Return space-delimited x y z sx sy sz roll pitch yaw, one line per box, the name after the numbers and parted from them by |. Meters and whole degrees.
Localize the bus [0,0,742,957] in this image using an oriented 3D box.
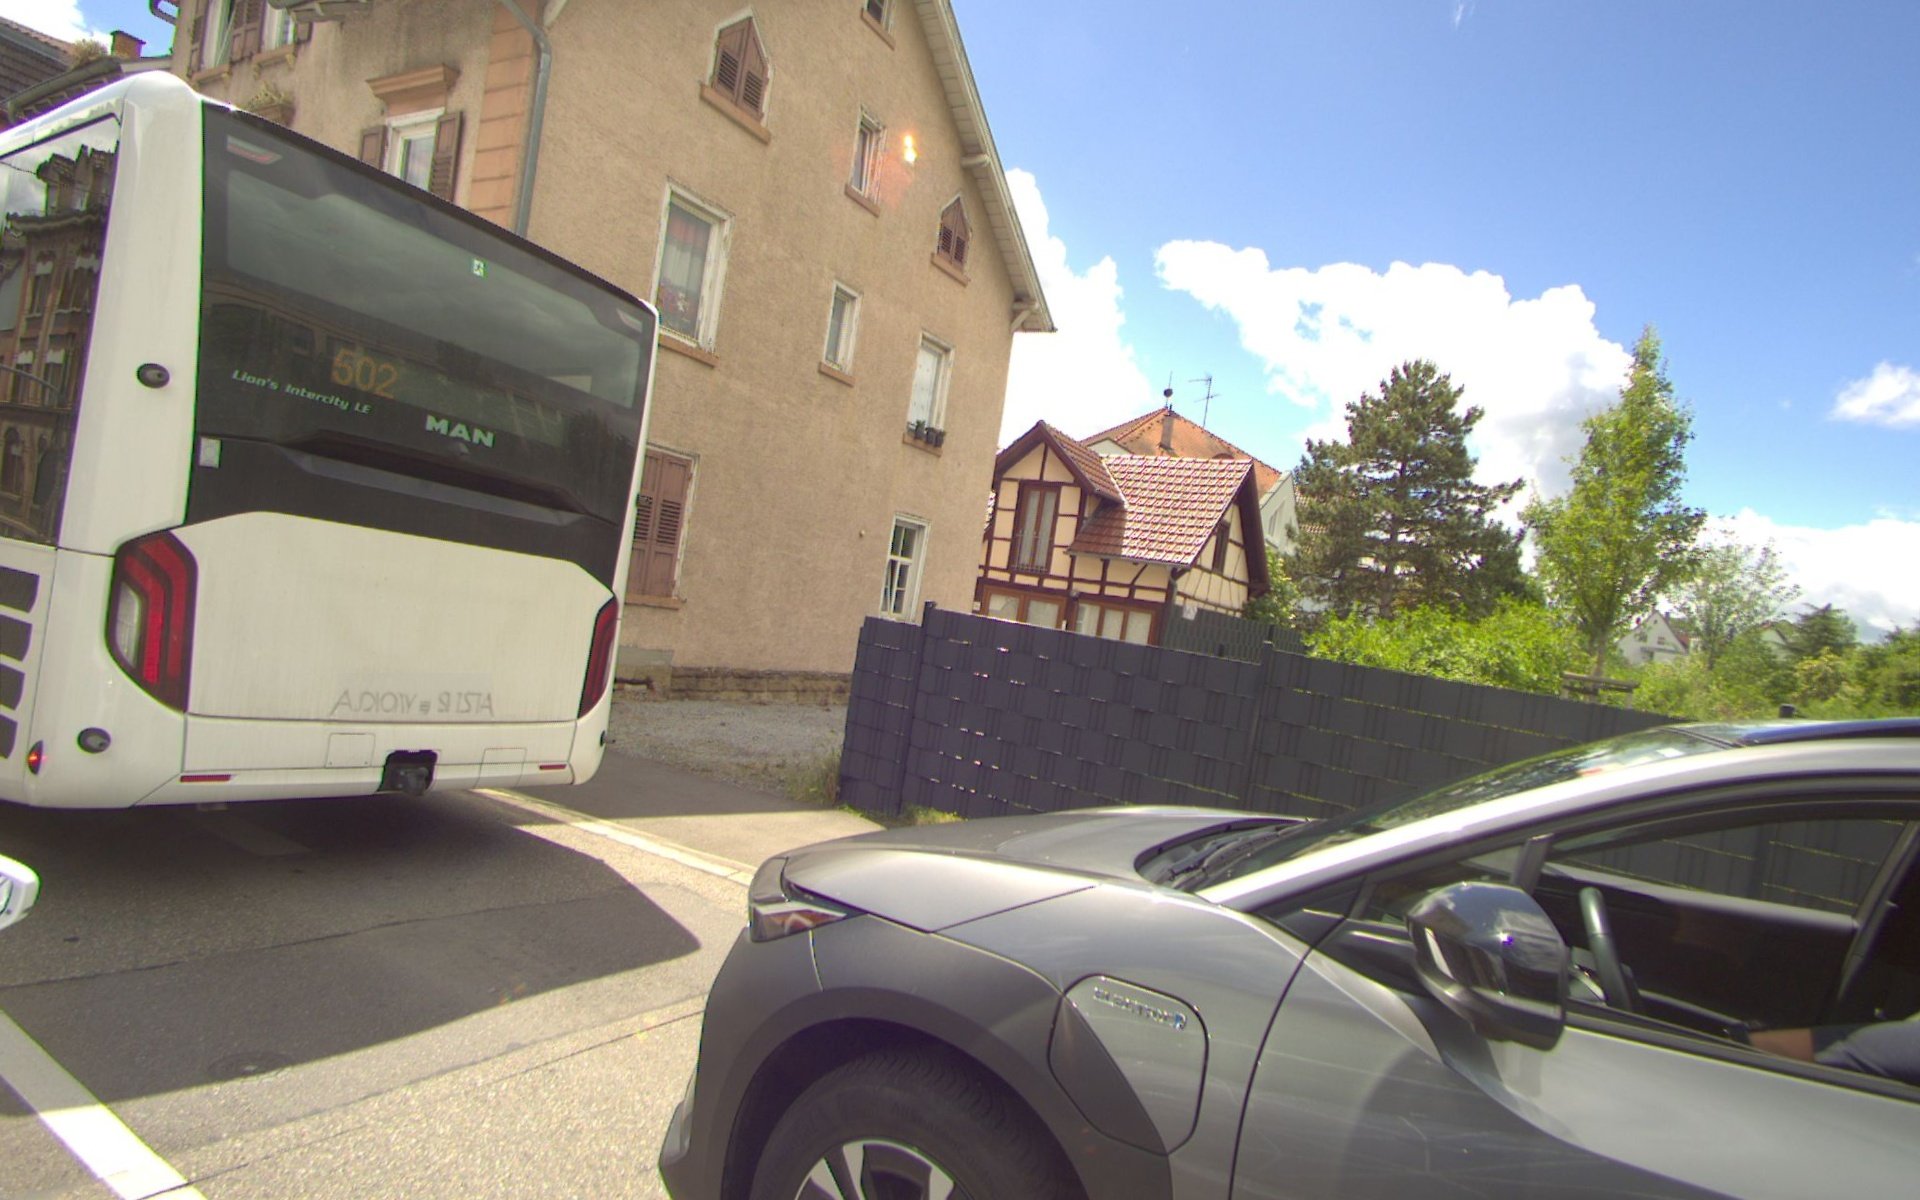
-7.405 -1.000 7.807 12.281 3.551 2.910 6 -2 32 | bus

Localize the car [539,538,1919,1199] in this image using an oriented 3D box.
1.576 0.994 1.871 4.504 1.648 1.997 7 -1 31 | car
